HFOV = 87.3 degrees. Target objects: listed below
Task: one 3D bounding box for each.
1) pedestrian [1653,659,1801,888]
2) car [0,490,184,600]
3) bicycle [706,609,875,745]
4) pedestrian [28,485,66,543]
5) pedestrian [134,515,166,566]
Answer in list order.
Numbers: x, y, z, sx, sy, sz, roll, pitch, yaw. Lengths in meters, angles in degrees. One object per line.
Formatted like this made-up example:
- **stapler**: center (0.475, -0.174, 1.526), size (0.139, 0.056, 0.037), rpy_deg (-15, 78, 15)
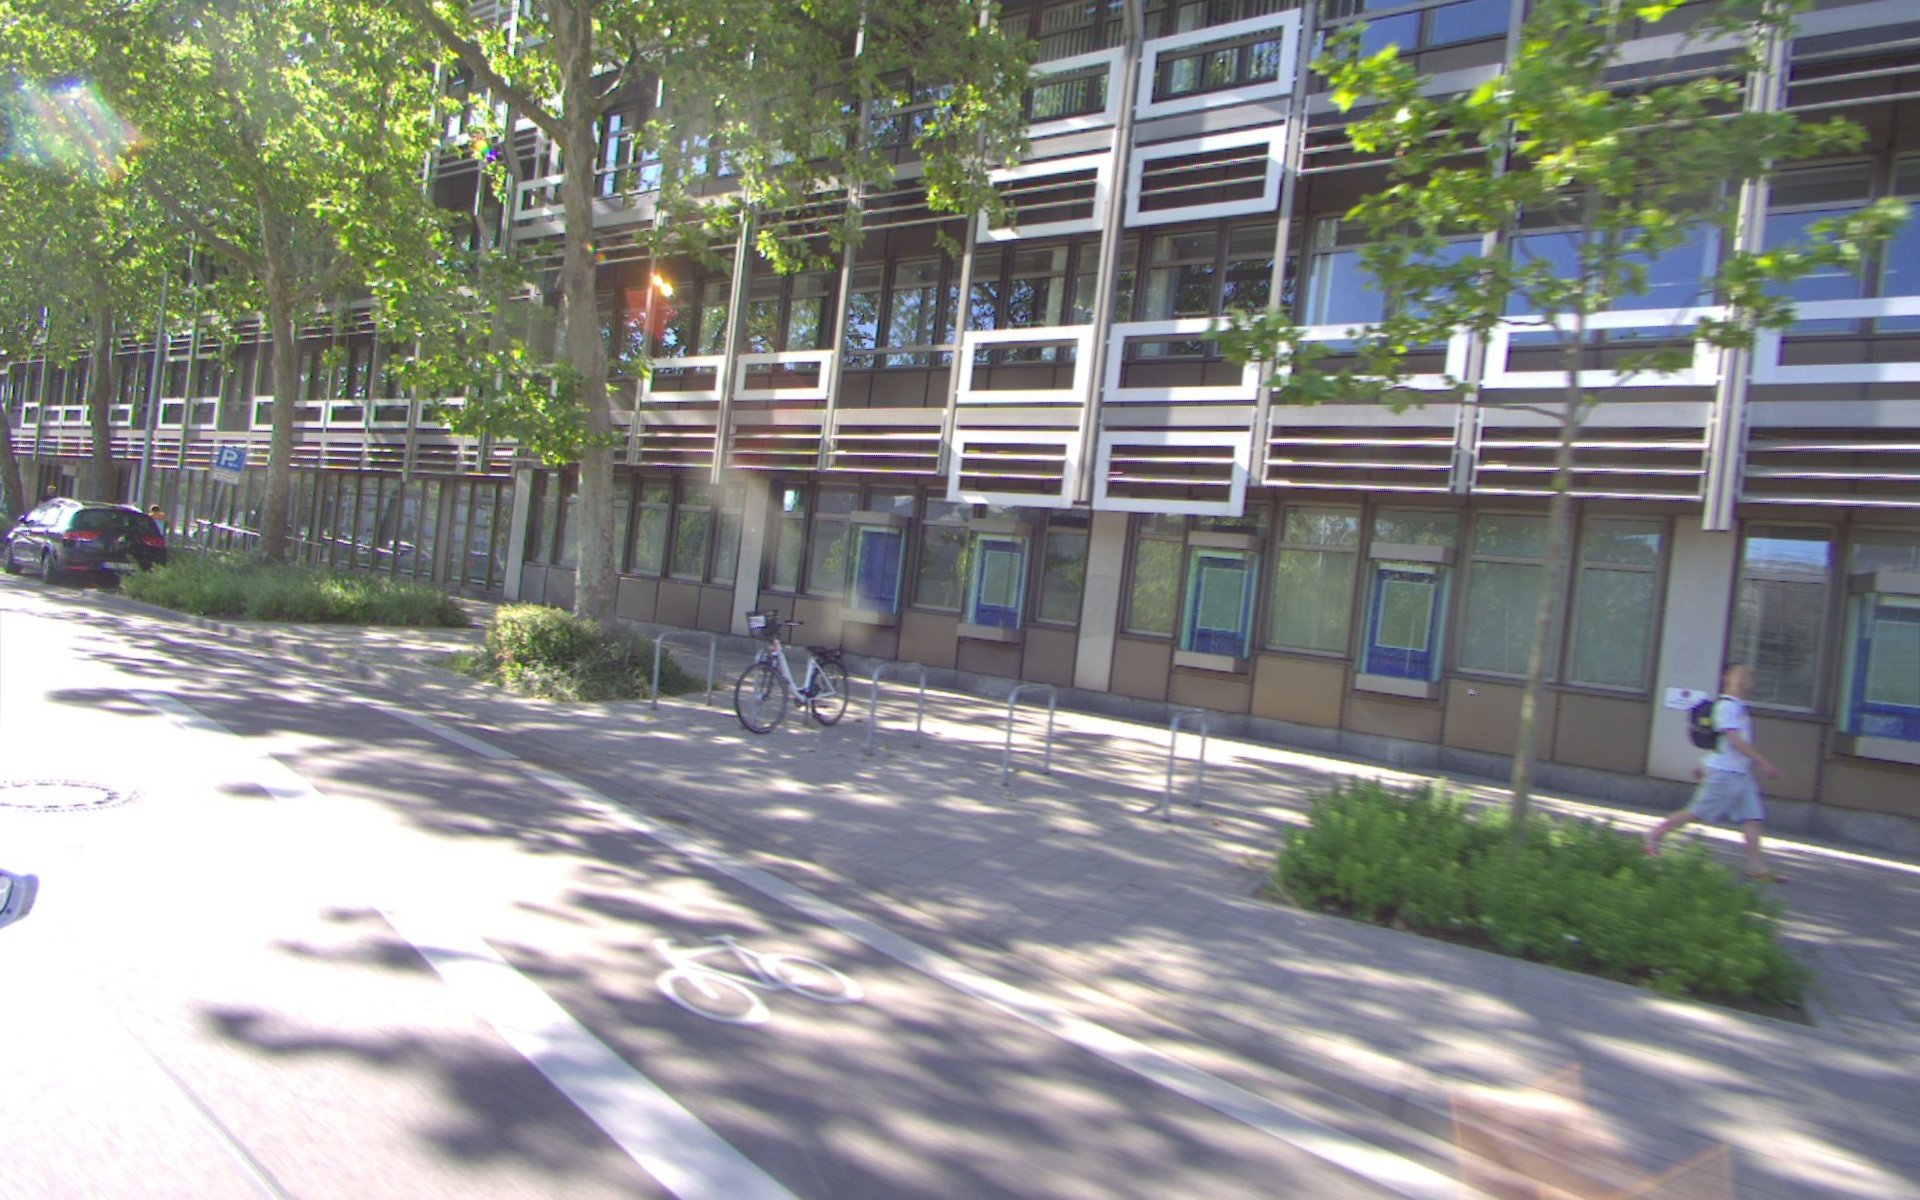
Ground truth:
- **pedestrian**: center (6.352, 1.406, 8.373), size (0.761, 1.721, 0.511), rpy_deg (7, 0, 32)
- **car**: center (-17.315, -1.116, 19.884), size (4.562, 1.663, 1.705), rpy_deg (7, -1, 35)
- **bicycle**: center (-1.735, 0.772, 10.628), size (0.569, 1.253, 1.938), rpy_deg (7, 2, 29)
- **pedestrian**: center (-32.486, -3.068, 35.798), size (0.548, 1.938, 0.678), rpy_deg (6, -2, 33)
- **pedestrian**: center (-27.481, -2.027, 34.151), size (0.564, 1.622, 0.554), rpy_deg (7, 0, 33)
